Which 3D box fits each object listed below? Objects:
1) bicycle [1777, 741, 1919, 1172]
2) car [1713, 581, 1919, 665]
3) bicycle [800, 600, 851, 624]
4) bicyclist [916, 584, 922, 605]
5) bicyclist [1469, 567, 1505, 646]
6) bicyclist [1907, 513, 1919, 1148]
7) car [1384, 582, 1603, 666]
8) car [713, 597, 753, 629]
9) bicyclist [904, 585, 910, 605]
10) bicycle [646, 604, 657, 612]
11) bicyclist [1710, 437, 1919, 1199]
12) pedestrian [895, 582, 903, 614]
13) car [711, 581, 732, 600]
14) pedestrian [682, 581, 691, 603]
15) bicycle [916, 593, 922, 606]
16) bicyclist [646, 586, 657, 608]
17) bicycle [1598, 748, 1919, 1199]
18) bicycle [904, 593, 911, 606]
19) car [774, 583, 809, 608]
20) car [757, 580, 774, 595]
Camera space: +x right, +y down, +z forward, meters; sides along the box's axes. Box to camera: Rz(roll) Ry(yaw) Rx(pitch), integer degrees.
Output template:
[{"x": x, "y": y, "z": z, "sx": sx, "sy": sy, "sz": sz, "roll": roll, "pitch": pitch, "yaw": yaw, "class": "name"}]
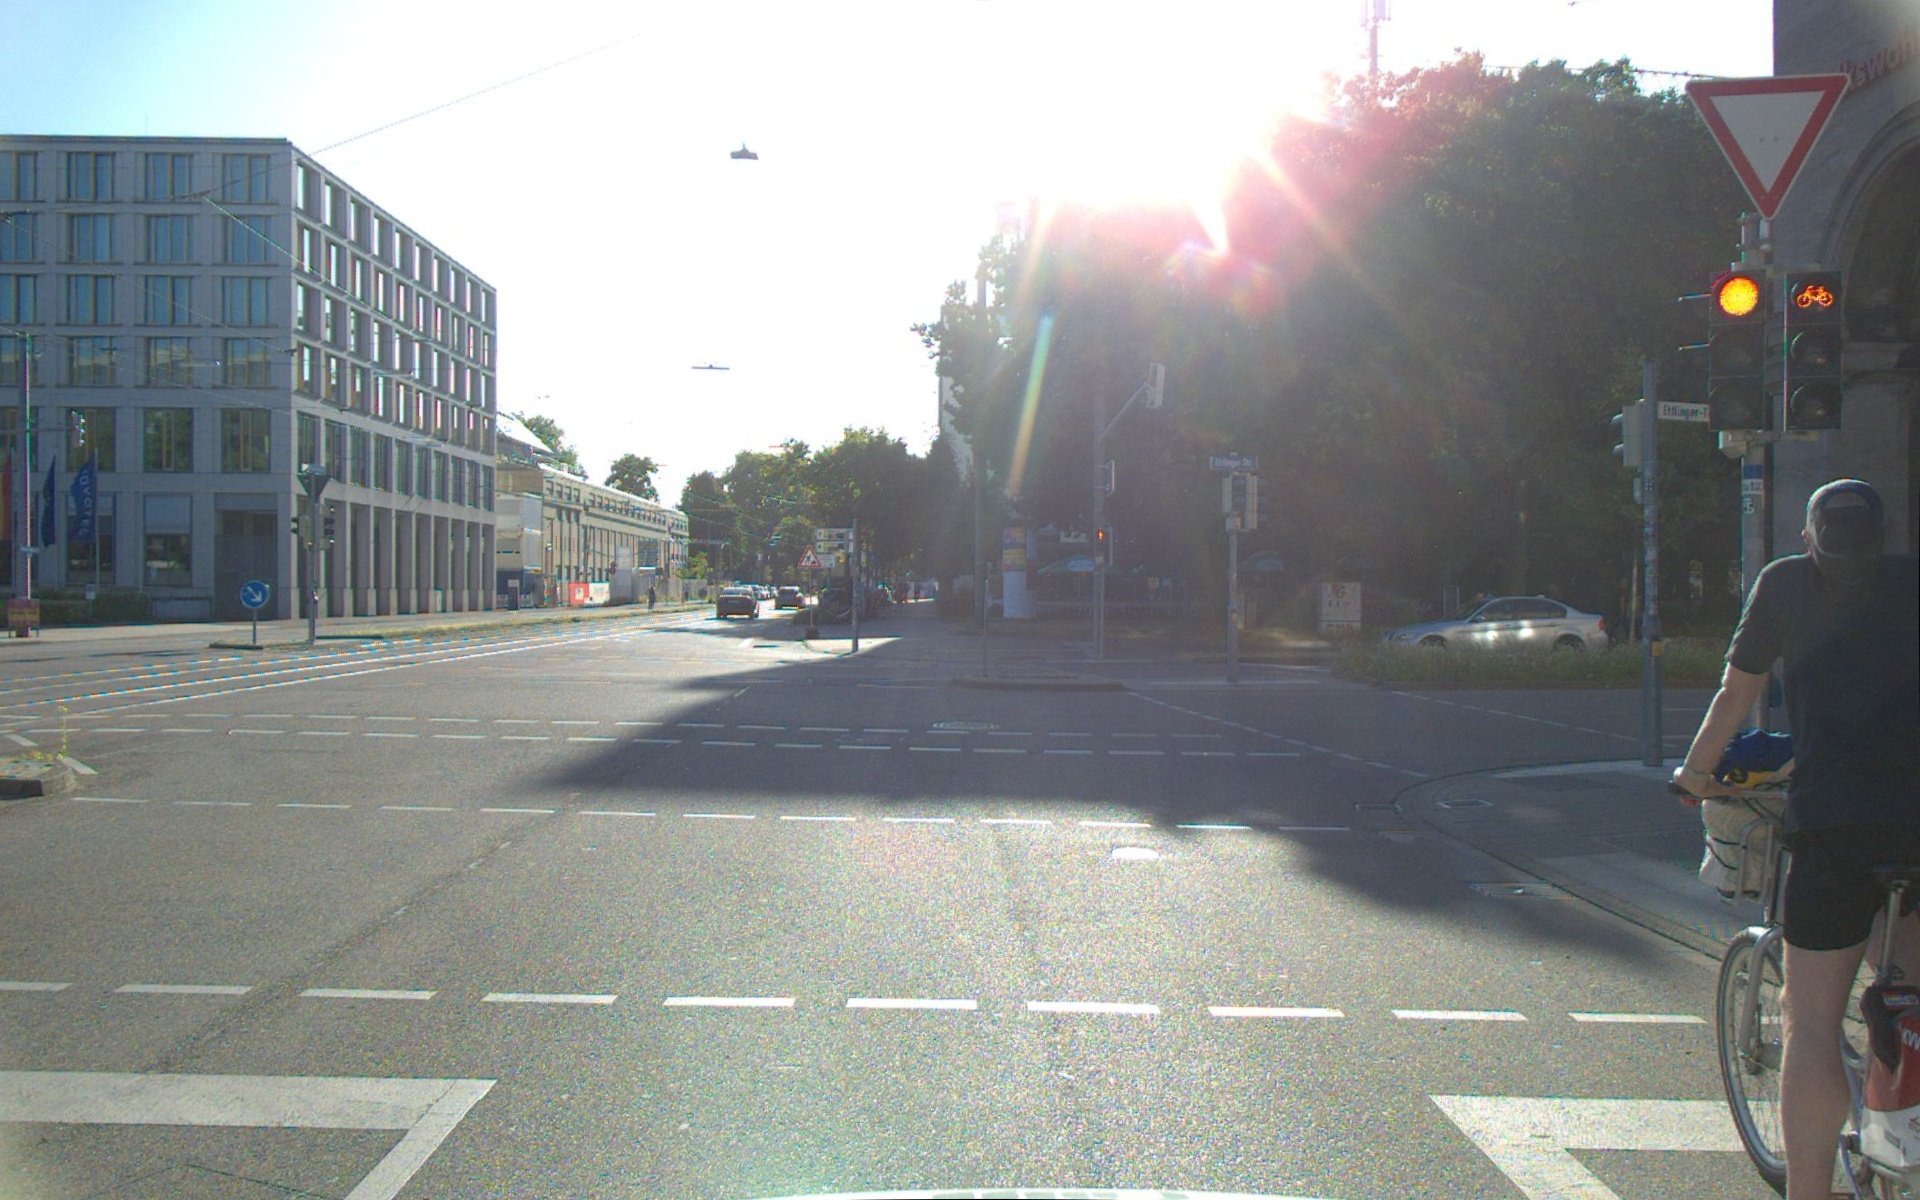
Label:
[{"x": 2.864, "y": 0.999, "z": 4.333, "sx": 0.523, "sy": 1.096, "sz": 1.750, "roll": 1, "pitch": 0, "yaw": -2, "class": "bicycle"}, {"x": 17.537, "y": 0.448, "z": 33.547, "sx": 3.770, "sy": 1.639, "sz": 1.650, "roll": 0, "pitch": 0, "yaw": -1, "class": "car"}, {"x": -5.486, "y": 0.507, "z": 67.379, "sx": 1.976, "sy": 0.907, "sz": 0.650, "roll": -2, "pitch": -1, "yaw": 27, "class": "bicycle"}, {"x": -3.493, "y": -0.472, "z": 141.376, "sx": 0.558, "sy": 1.721, "sz": 0.699, "roll": 0, "pitch": 0, "yaw": -1, "class": "bicyclist"}, {"x": 11.514, "y": 0.132, "z": 36.148, "sx": 0.630, "sy": 1.712, "sz": 0.507, "roll": 0, "pitch": 0, "yaw": 5, "class": "bicyclist"}, {"x": 2.888, "y": 0.627, "z": 4.226, "sx": 0.546, "sy": 1.721, "sz": 0.640, "roll": 1, "pitch": 0, "yaw": -2, "class": "bicyclist"}, {"x": 10.775, "y": 0.476, "z": 33.557, "sx": 3.912, "sy": 1.639, "sz": 1.650, "roll": 0, "pitch": 0, "yaw": -1, "class": "car"}, {"x": -10.862, "y": 0.594, "z": 79.436, "sx": 1.627, "sy": 1.481, "sz": 4.428, "roll": 1, "pitch": 0, "yaw": -5, "class": "car"}, {"x": -4.522, "y": -0.460, "z": 141.438, "sx": 0.558, "sy": 1.721, "sz": 0.699, "roll": 0, "pitch": 0, "yaw": -1, "class": "bicyclist"}, {"x": -19.898, "y": 0.496, "z": 106.660, "sx": 0.491, "sy": 0.524, "sz": 1.257, "roll": 1, "pitch": 0, "yaw": -1, "class": "bicycle"}, {"x": 2.095, "y": 0.578, "z": 3.727, "sx": 0.547, "sy": 1.830, "sz": 0.550, "roll": 1, "pitch": 0, "yaw": 1, "class": "bicyclist"}, {"x": -3.611, "y": -0.109, "z": 97.654, "sx": 0.454, "sy": 1.845, "sz": 0.502, "roll": 0, "pitch": 0, "yaw": -5, "class": "pedestrian"}, {"x": -22.473, "y": -0.895, "z": 156.107, "sx": 1.659, "sy": 1.748, "sz": 4.244, "roll": 1, "pitch": 0, "yaw": -4, "class": "car"}, {"x": -25.291, "y": -0.754, "z": 153.028, "sx": 0.660, "sy": 2.049, "sz": 0.751, "roll": 1, "pitch": -1, "yaw": -3, "class": "pedestrian"}, {"x": -3.492, "y": -0.009, "z": 141.334, "sx": 0.563, "sy": 1.096, "sz": 1.830, "roll": 0, "pitch": 0, "yaw": -1, "class": "bicycle"}, {"x": -19.876, "y": -0.178, "z": 106.694, "sx": 0.584, "sy": 1.401, "sz": 0.637, "roll": 1, "pitch": -1, "yaw": -2, "class": "bicyclist"}, {"x": 2.076, "y": 0.980, "z": 3.885, "sx": 0.505, "sy": 1.096, "sz": 1.728, "roll": 1, "pitch": 0, "yaw": 1, "class": "bicycle"}, {"x": -4.514, "y": -0.034, "z": 141.450, "sx": 0.563, "sy": 1.096, "sz": 1.830, "roll": 0, "pitch": 0, "yaw": -1, "class": "bicycle"}, {"x": -11.420, "y": -0.325, "z": 112.056, "sx": 1.854, "sy": 1.592, "sz": 4.807, "roll": 3, "pitch": 1, "yaw": -1, "class": "car"}, {"x": -22.833, "y": -1.432, "z": 194.356, "sx": 1.659, "sy": 1.748, "sz": 4.244, "roll": 1, "pitch": 0, "yaw": -4, "class": "car"}]
